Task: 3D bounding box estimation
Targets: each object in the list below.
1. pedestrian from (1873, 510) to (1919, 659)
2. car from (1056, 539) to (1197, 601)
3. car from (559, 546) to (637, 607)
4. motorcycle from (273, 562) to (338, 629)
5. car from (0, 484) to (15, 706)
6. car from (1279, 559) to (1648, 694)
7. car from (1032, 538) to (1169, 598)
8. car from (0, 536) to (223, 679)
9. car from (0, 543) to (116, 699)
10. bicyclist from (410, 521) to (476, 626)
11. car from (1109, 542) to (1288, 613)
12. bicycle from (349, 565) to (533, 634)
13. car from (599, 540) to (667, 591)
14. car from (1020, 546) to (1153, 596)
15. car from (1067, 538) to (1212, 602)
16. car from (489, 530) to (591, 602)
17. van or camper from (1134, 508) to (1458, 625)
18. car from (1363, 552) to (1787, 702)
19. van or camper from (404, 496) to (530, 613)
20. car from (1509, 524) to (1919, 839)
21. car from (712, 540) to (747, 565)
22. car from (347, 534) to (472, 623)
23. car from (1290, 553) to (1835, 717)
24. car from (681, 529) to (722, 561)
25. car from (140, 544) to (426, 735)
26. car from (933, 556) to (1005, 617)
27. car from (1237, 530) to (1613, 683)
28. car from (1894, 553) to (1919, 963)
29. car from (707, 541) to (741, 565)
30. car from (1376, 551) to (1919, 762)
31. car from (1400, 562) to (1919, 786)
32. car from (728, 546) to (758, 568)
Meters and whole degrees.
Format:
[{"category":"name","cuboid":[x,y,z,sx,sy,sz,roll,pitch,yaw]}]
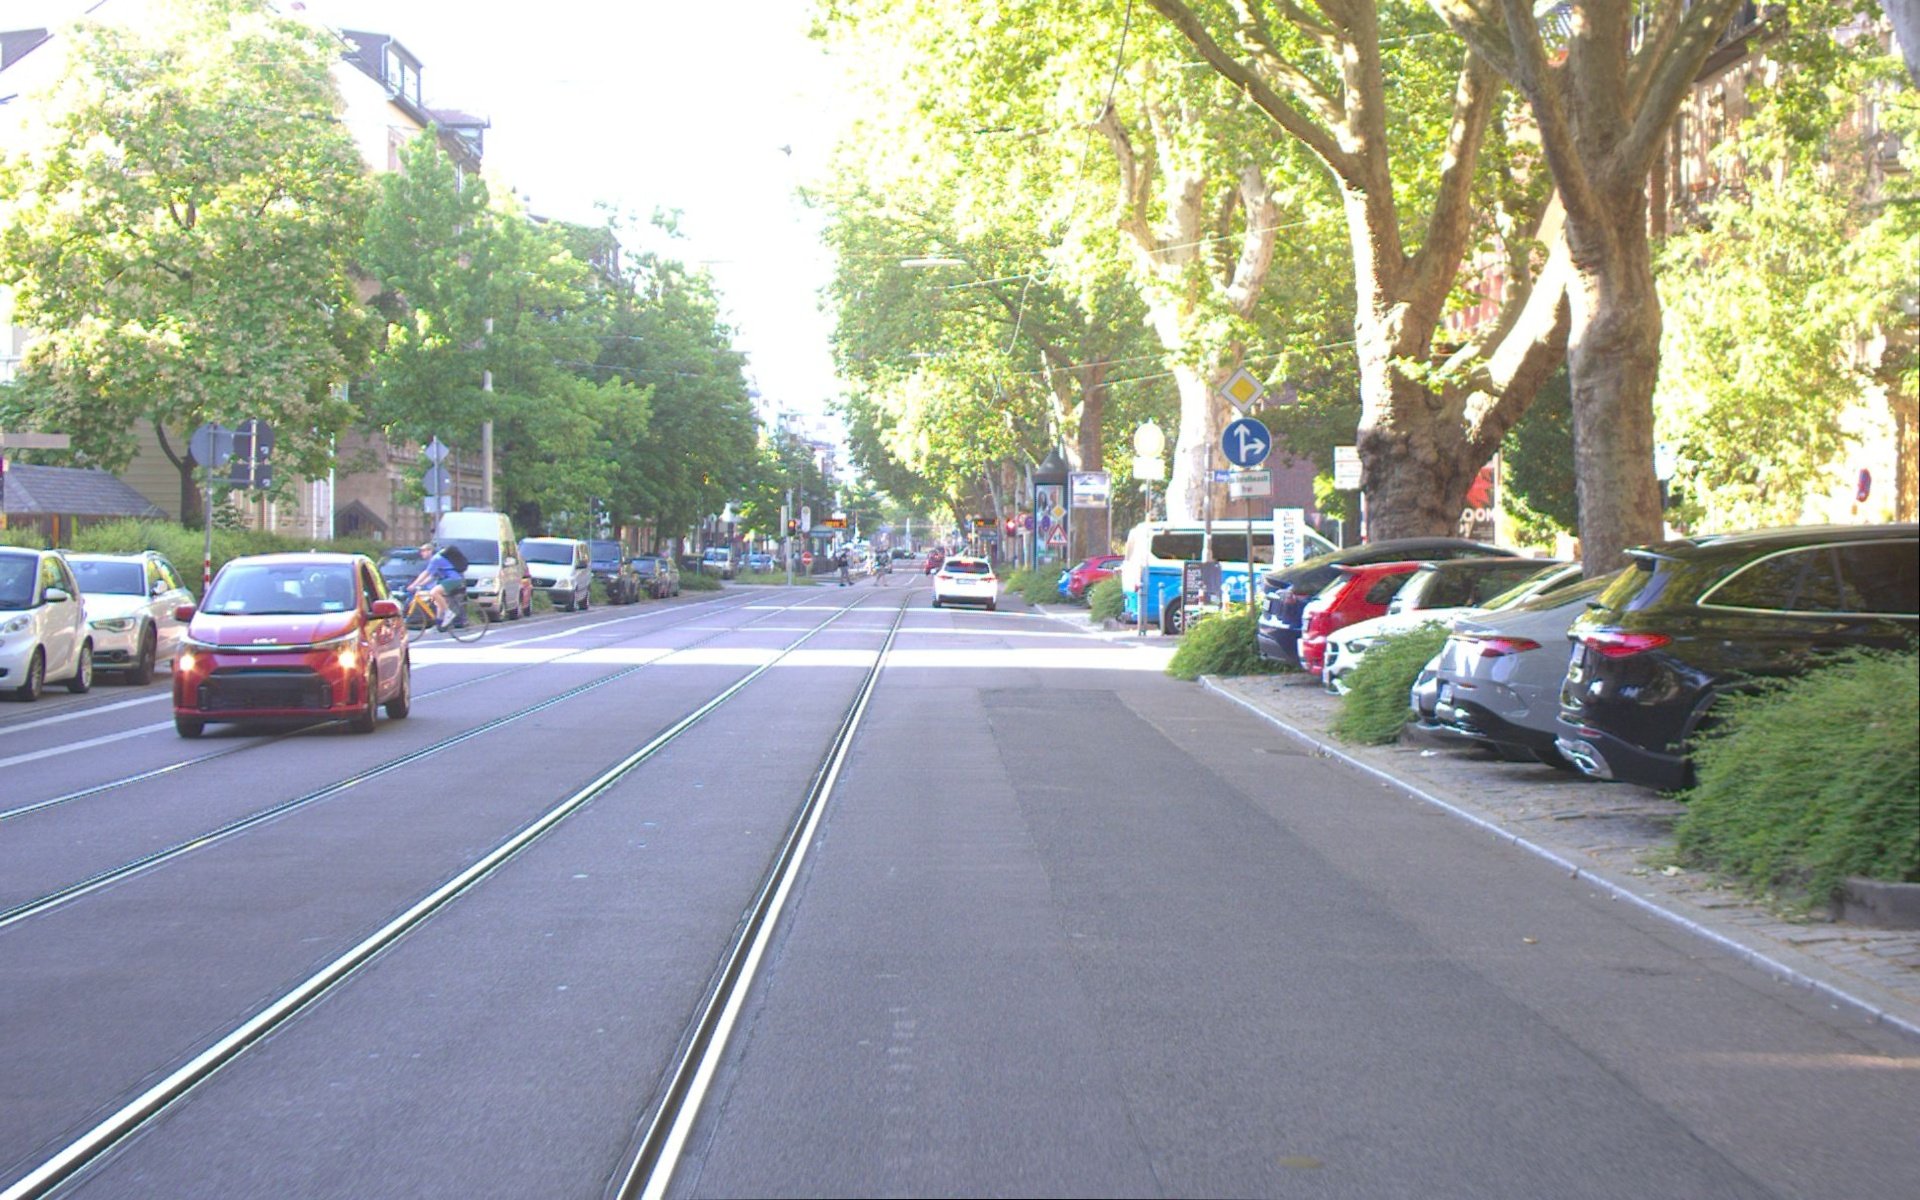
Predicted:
[{"category":"pedestrian","cuboid":[11.212,-0.186,40.343,0.760,1.733,0.821,0,1,0]},{"category":"car","cuboid":[4.813,-0.880,99.649,3.987,1.778,2.000,0,1,0]},{"category":"car","cuboid":[-11.134,-0.739,105.888,1.993,1.854,4.179,0,1,0]},{"category":"motorcycle","cuboid":[-12.067,-0.092,63.453,0.763,1.103,2.330,1,3,0]},{"category":"car","cuboid":[-9.851,-0.022,29.859,1.952,2.084,5.249,3,2,-3]},{"category":"car","cuboid":[5.310,0.265,36.594,3.650,1.373,1.890,0,1,0]},{"category":"car","cuboid":[4.186,-0.972,102.912,3.987,1.778,2.000,0,1,0]},{"category":"car","cuboid":[-10.051,0.038,40.403,1.836,1.463,5.070,3,1,-3]},{"category":"car","cuboid":[-10.038,0.181,35.929,1.572,1.521,3.040,2,1,1]},{"category":"bicyclist","cuboid":[-8.435,-0.441,56.077,1.045,1.700,1.058,0,1,-10]},{"category":"car","cuboid":[5.479,-0.539,79.289,3.987,1.603,2.000,0,1,0]},{"category":"bicycle","cuboid":[-8.472,-0.017,56.096,2.947,1.101,1.052,0,1,-9]},{"category":"car","cuboid":[-11.556,-1.237,121.809,1.993,1.739,4.659,0,1,0]},{"category":"car","cuboid":[3.851,-0.890,105.220,3.987,1.515,2.000,0,1,0]},{"category":"car","cuboid":[5.055,-0.847,97.366,3.987,1.778,2.000,0,1,0]},{"category":"car","cuboid":[-11.142,-0.921,91.469,2.173,1.854,4.659,0,1,0]},{"category":"van or camper","cuboid":[6.089,-0.630,62.708,5.554,2.006,2.245,0,4,-5]},{"category":"car","cuboid":[6.059,0.247,34.179,3.882,1.430,1.754,0,1,0]},{"category":"van or camper","cuboid":[-10.962,-1.019,76.788,2.079,2.524,5.318,0,1,0]},{"category":"car","cuboid":[5.396,0.378,18.855,4.497,1.596,2.027,-2,1,4]},{"category":"car","cuboid":[-13.872,-2.833,206.658,1.918,1.414,3.591,-2,0,-5]},{"category":"car","cuboid":[-10.773,-0.445,67.561,1.787,1.581,4.344,3,1,-2]},{"category":"car","cuboid":[5.485,0.300,31.726,4.686,1.441,1.892,0,1,0]},{"category":"car","cuboid":[-12.772,-2.720,170.158,1.918,1.414,3.721,0,-2,-3]},{"category":"car","cuboid":[-5.634,0.280,29.029,1.663,1.474,3.951,-1,1,-1]},{"category":"car","cuboid":[0.235,-0.389,95.183,1.918,1.579,3.791,-1,1,-1]},{"category":"car","cuboid":[5.203,0.055,38.815,3.923,1.664,1.961,0,1,-2]},{"category":"car","cuboid":[5.452,0.601,12.110,3.838,1.504,1.711,0,1,0]},{"category":"car","cuboid":[-13.890,-2.780,202.413,1.918,1.414,3.591,0,1,-3]},{"category":"car","cuboid":[5.298,0.399,25.746,4.142,1.504,1.796,0,1,0]},{"category":"car","cuboid":[5.280,0.474,23.335,4.295,1.434,1.948,0,1,-1]},{"category":"car","cuboid":[-14.158,-2.809,224.510,1.918,1.414,3.591,0,1,-3]}]
